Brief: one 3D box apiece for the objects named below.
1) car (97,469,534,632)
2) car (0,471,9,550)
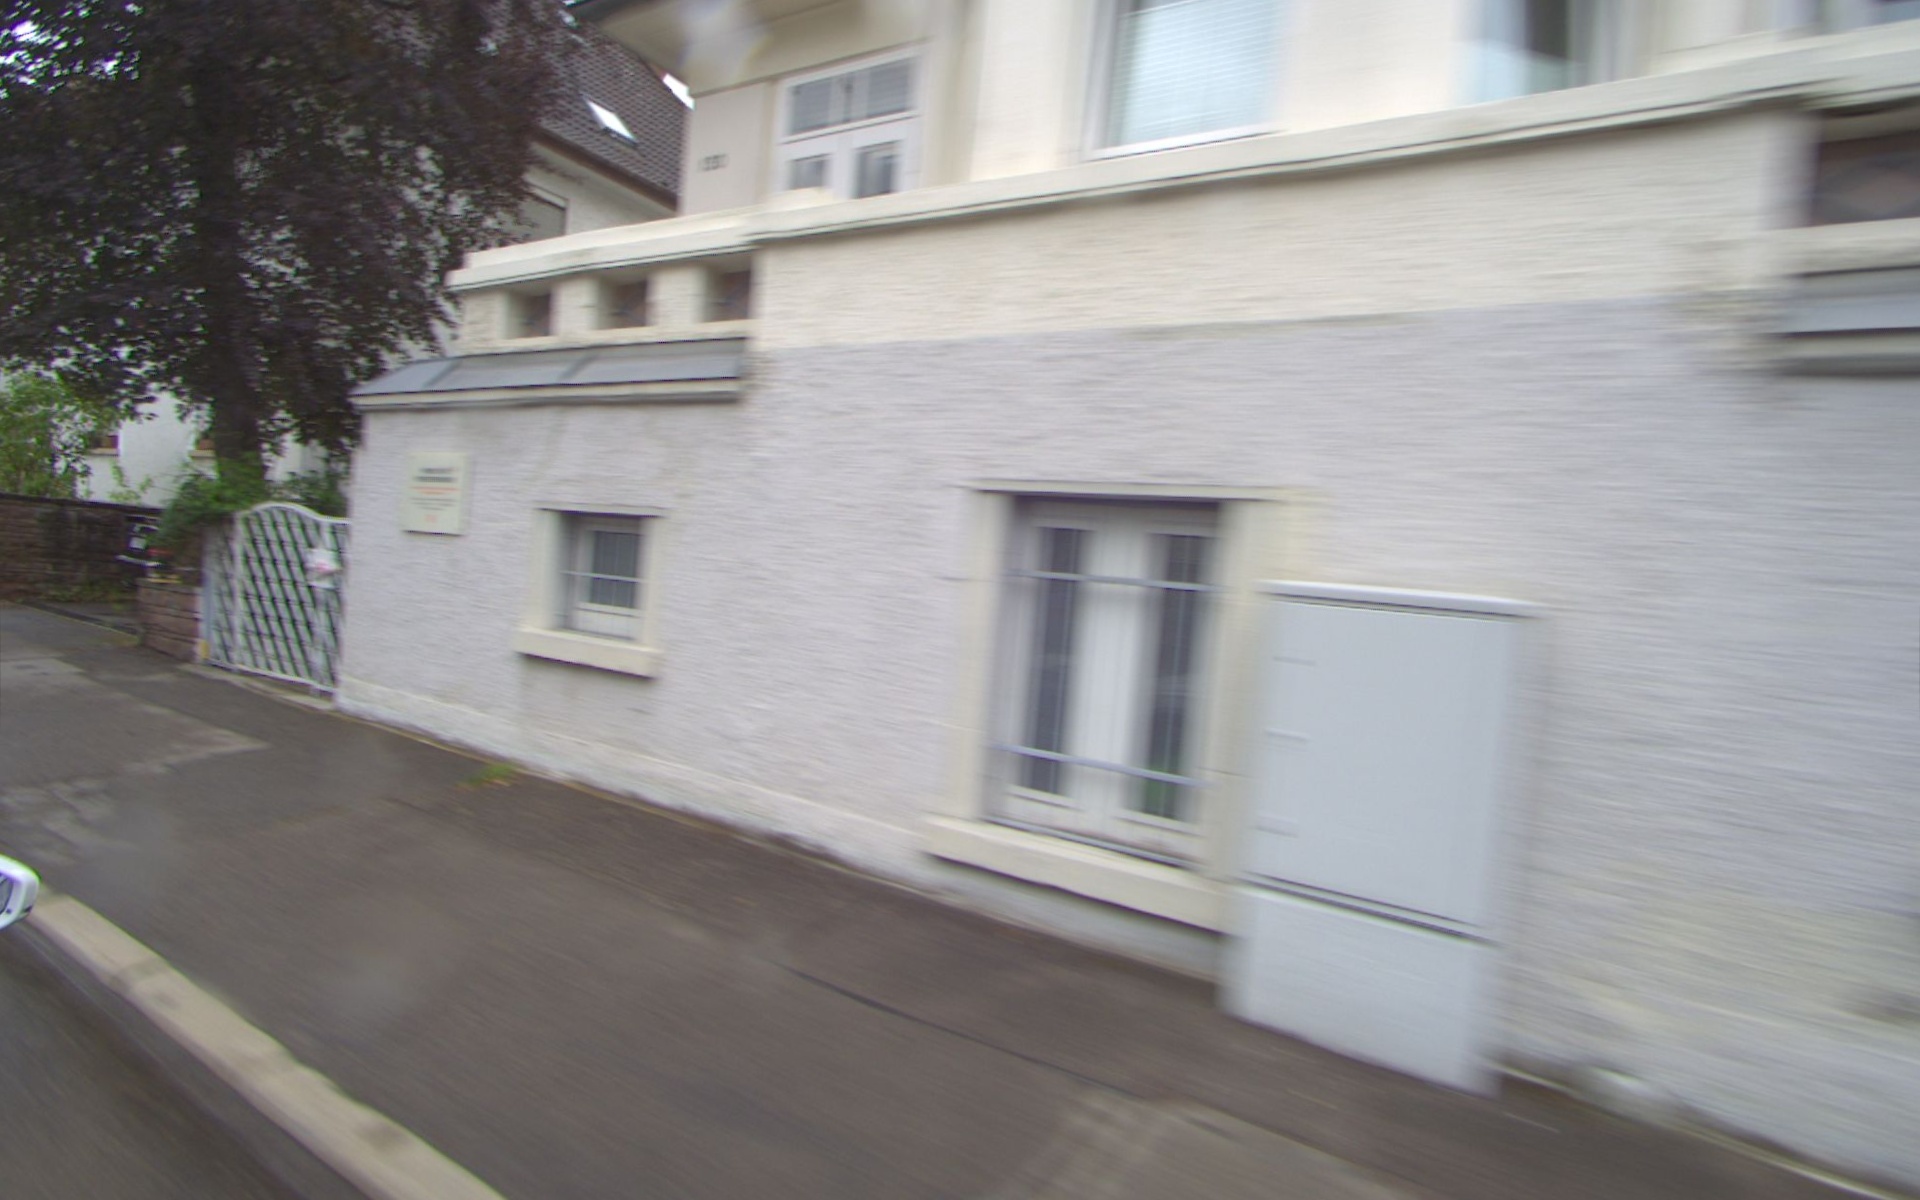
[{"bbox_3d":[-7.844,-0.490,12.627,1.947,1.504,4.147,3,-2,35],"label":"car"},{"bbox_3d":[-22.207,-2.139,20.267,1.886,1.660,3.991,8,1,32],"label":"car"}]
